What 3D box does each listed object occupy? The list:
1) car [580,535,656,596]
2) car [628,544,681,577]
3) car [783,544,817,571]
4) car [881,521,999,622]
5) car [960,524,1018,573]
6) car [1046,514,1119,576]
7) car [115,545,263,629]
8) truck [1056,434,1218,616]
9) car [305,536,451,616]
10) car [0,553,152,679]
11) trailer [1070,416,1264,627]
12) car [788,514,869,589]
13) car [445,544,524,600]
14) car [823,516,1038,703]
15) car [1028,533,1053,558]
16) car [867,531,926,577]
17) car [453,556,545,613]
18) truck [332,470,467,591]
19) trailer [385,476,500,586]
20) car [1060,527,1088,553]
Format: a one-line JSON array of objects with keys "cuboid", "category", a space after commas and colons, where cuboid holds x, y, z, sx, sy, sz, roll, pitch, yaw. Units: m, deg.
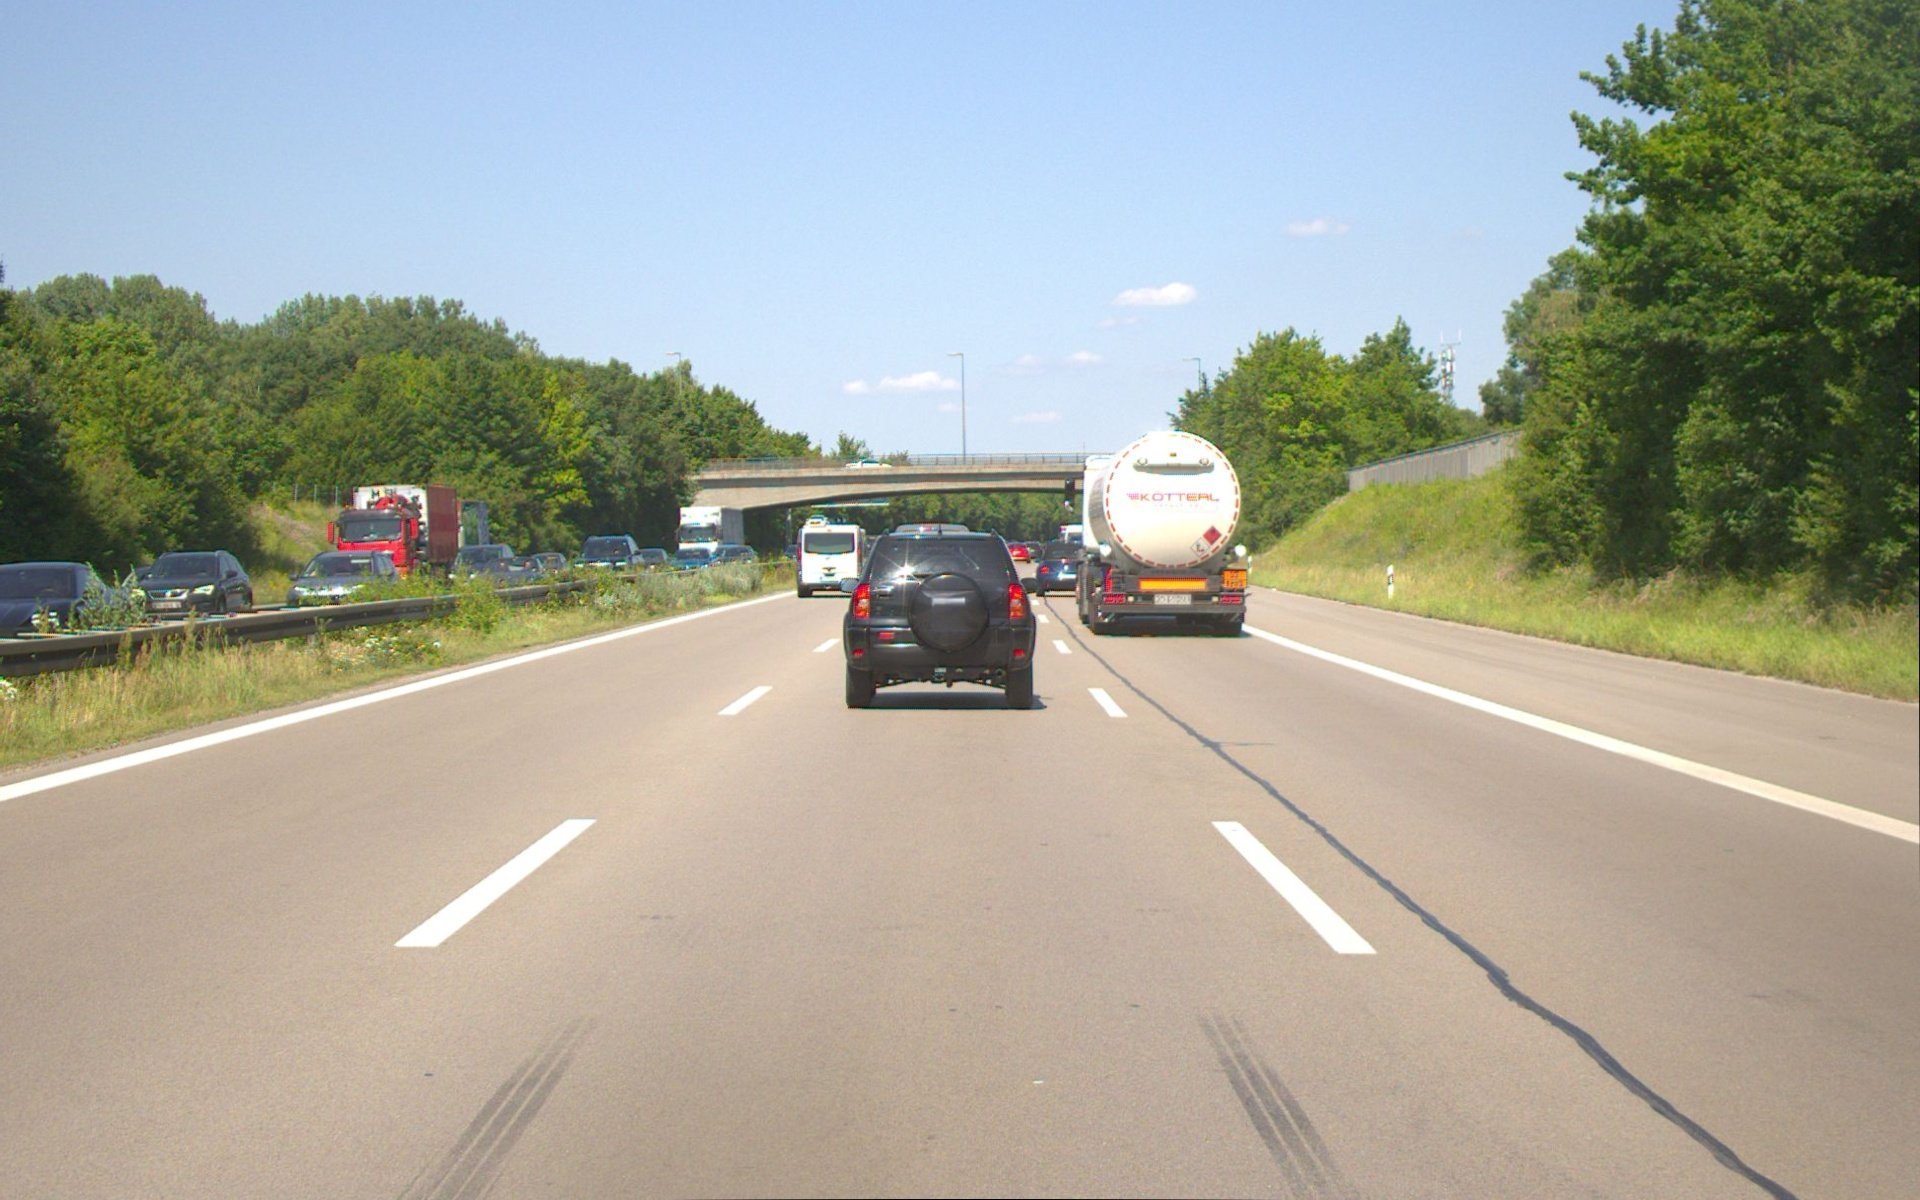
[{"cuboid": [-10.899, -1.129, 109.736, 1.993, 1.859, 4.899, -1, 1, -1], "category": "car"}, {"cuboid": [-13.892, -1.801, 156.609, 1.895, 1.335, 4.764, -3, 1, 0], "category": "car"}, {"cuboid": [-10.889, -2.909, 234.290, 1.993, 1.773, 4.261, -1, 1, 2], "category": "car"}, {"cuboid": [-0.352, -0.518, 61.407, 1.993, 1.700, 4.336, -1, 1, 0], "category": "car"}, {"cuboid": [1.089, -1.921, 127.139, 1.993, 1.744, 4.205, -1, 1, 2], "category": "car"}, {"cuboid": [3.447, -1.540, 97.166, 1.993, 1.678, 4.000, -1, 0, 2], "category": "car"}, {"cuboid": [-15.757, -0.288, 70.491, 1.993, 1.624, 4.575, -1, 1, 0], "category": "car"}, {"cuboid": [3.382, -1.449, 67.018, 2.638, 3.363, 6.488, 0, 1, -1], "category": "truck"}, {"cuboid": [-11.210, -0.488, 66.501, 1.954, 1.478, 4.345, -1, 1, 2], "category": "car"}, {"cuboid": [-11.817, 0.170, 43.567, 1.993, 1.470, 4.831, -1, 1, 0], "category": "car"}, {"cuboid": [3.515, -1.354, 60.964, 2.648, 3.378, 11.152, 0, 1, -1], "category": "trailer"}, {"cuboid": [-3.657, -1.361, 96.565, 1.993, 2.007, 4.950, -1, 1, 0], "category": "car"}, {"cuboid": [-15.152, -0.912, 109.775, 1.993, 1.684, 4.265, -1, 1, -1], "category": "car"}, {"cuboid": [-0.225, 0.061, 32.835, 1.906, 1.659, 4.000, -1, 1, 1], "category": "car"}, {"cuboid": [5.943, -4.043, 254.395, 1.812, 1.740, 4.000, -1, 1, 1], "category": "car"}, {"cuboid": [-2.216, -1.605, 120.289, 1.993, 1.547, 4.000, -1, 0, -1], "category": "car"}, {"cuboid": [-11.420, -0.402, 85.374, 1.668, 1.312, 4.120, -1, 1, 1], "category": "car"}, {"cuboid": [-18.600, -2.320, 114.775, 2.679, 3.756, 9.919, -2, 1, 0], "category": "truck"}, {"cuboid": [-18.542, -2.478, 123.632, 2.679, 3.756, 8.407, -2, 1, 0], "category": "trailer"}, {"cuboid": [7.743, -4.089, 233.677, 1.812, 1.740, 4.000, -1, 1, 1], "category": "car"}]
